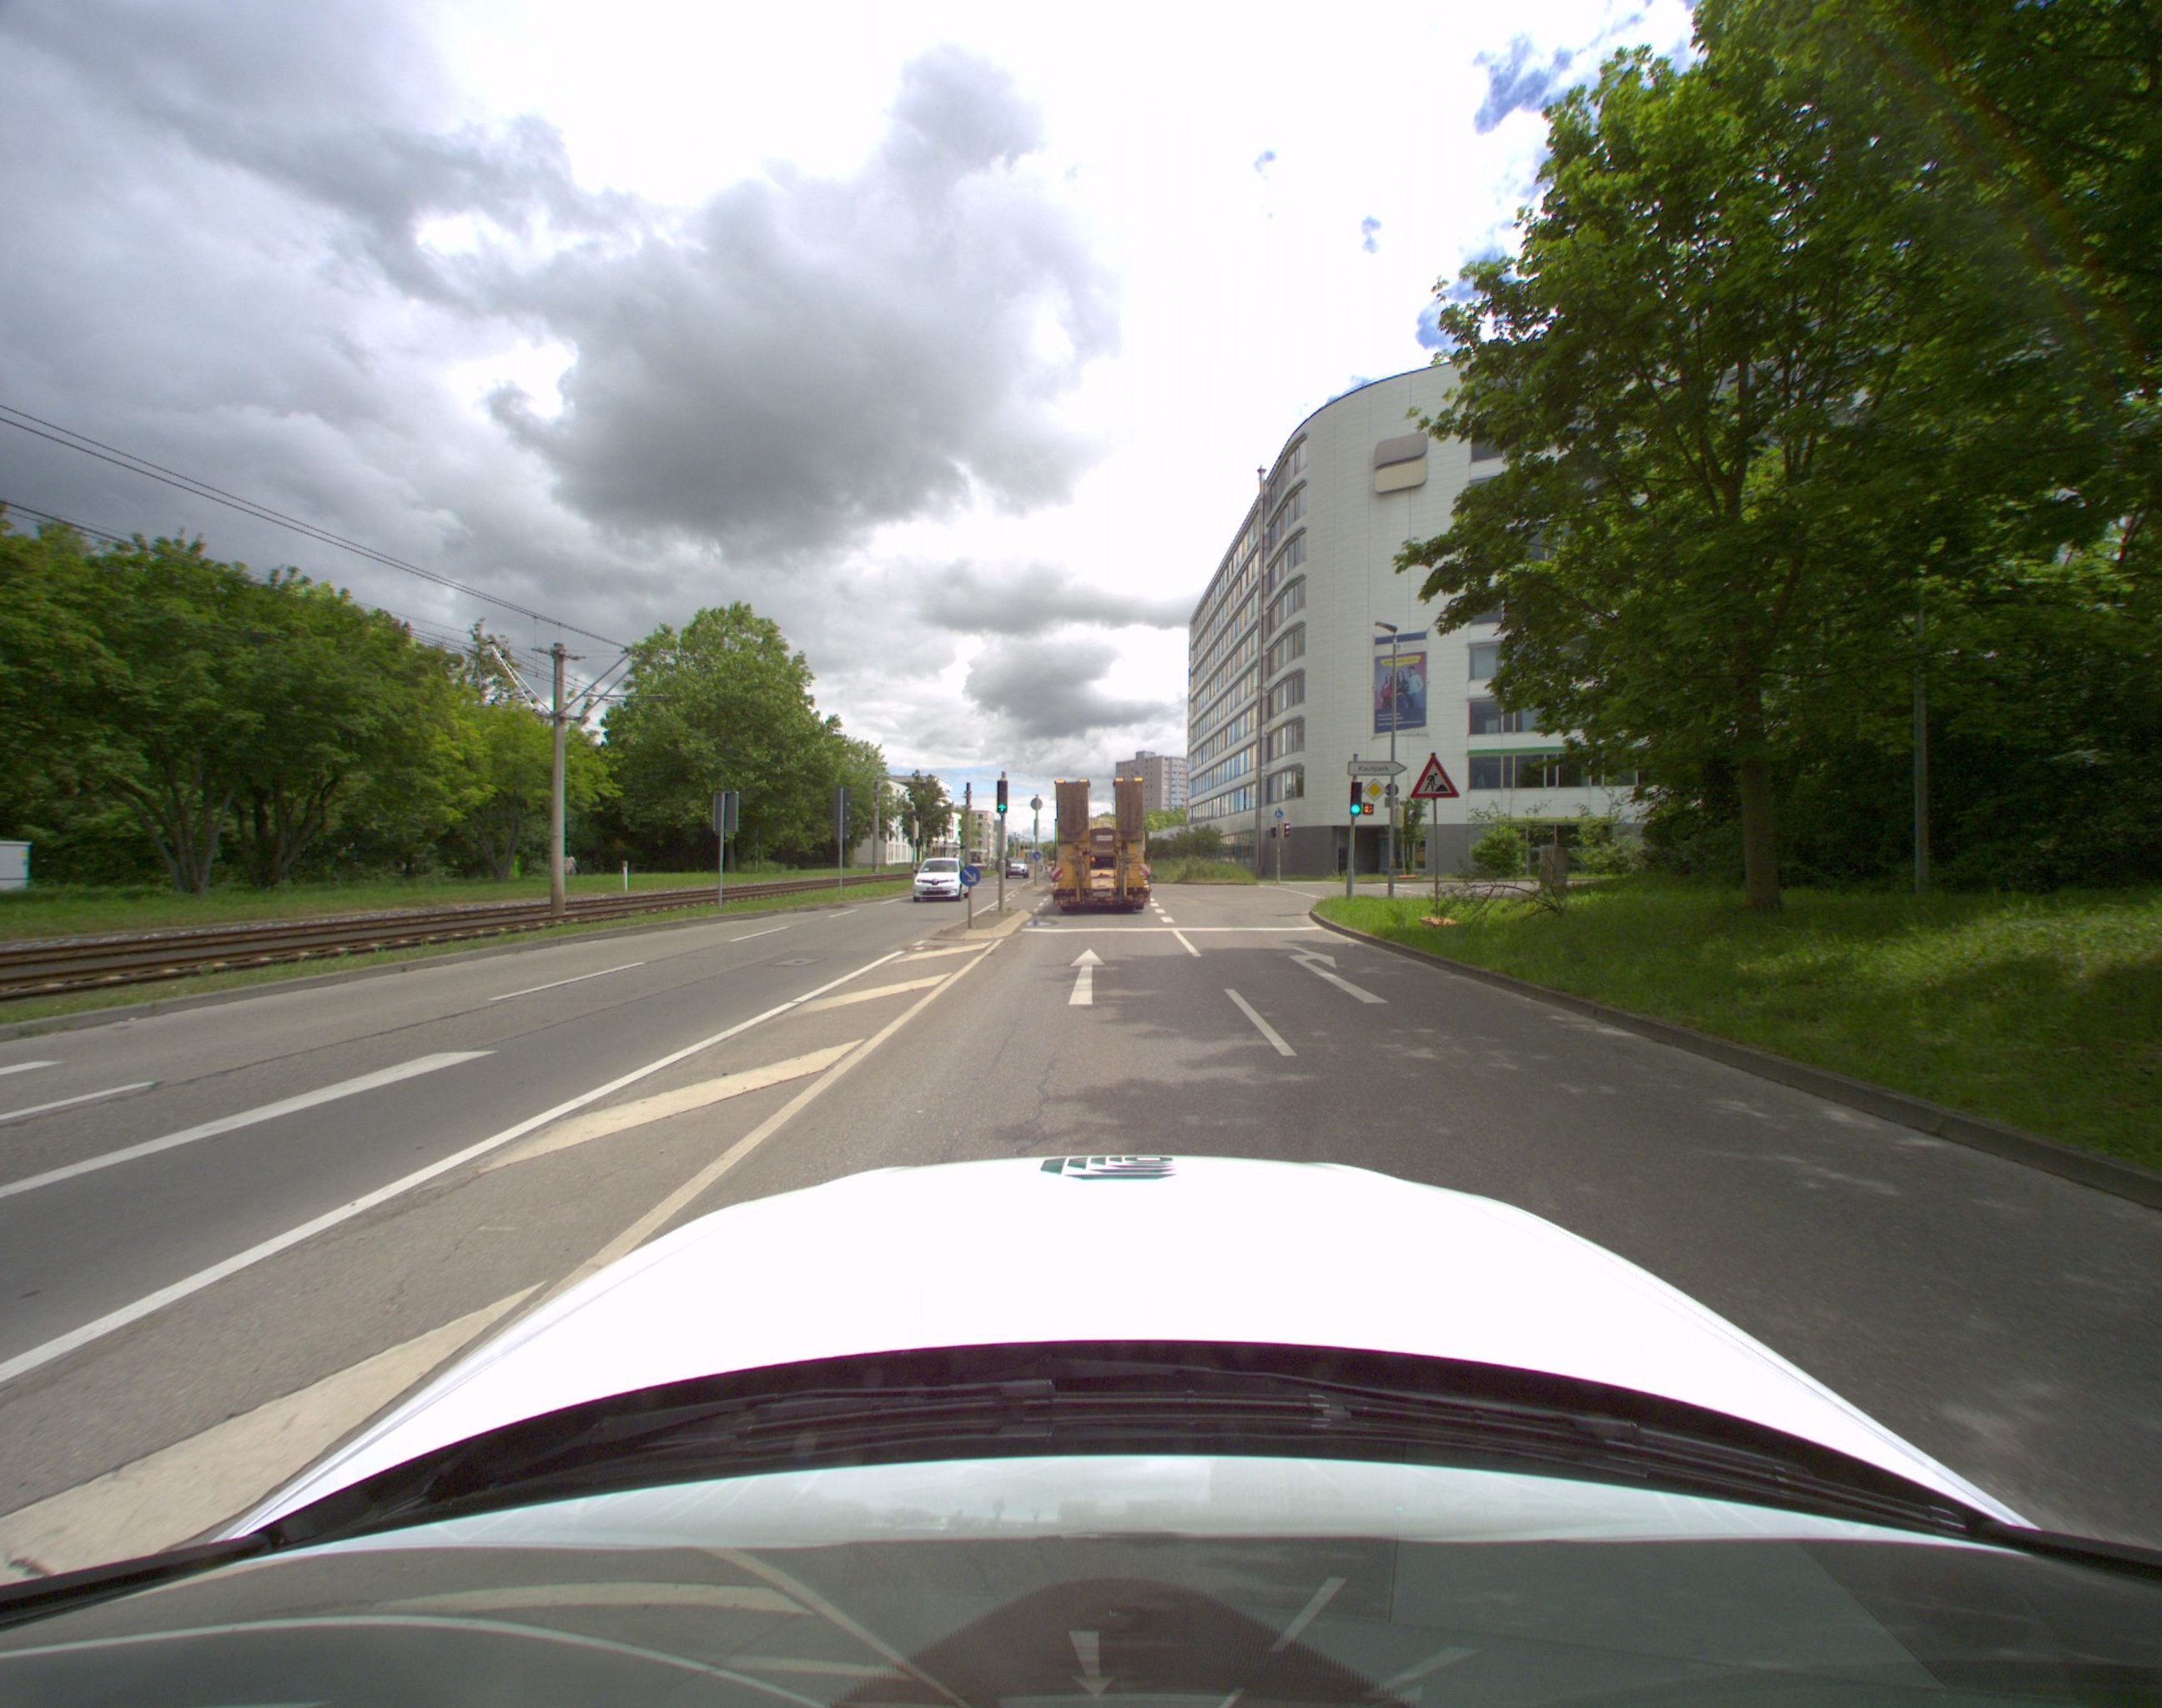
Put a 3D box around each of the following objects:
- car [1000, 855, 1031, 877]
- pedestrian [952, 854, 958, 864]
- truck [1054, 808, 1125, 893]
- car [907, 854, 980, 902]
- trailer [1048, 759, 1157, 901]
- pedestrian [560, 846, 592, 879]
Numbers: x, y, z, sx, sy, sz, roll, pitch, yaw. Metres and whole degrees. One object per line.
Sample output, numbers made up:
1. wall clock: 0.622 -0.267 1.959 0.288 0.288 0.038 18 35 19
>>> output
1. car: -5.075 0.918 63.902 1.853 1.610 4.609 1 -1 2
2. pedestrian: -19.987 0.815 129.025 0.738 1.531 0.547 1 -1 2
3. truck: 0.324 -0.077 35.946 2.745 3.313 8.349 1 -1 0
4. car: -4.947 0.836 29.852 1.721 1.612 4.266 1 -1 3
5. trailer: 0.462 -0.528 26.153 2.721 3.559 11.247 1 -1 -1
6. pedestrian: -29.914 0.504 48.266 1.031 1.934 1.363 1 -1 1
